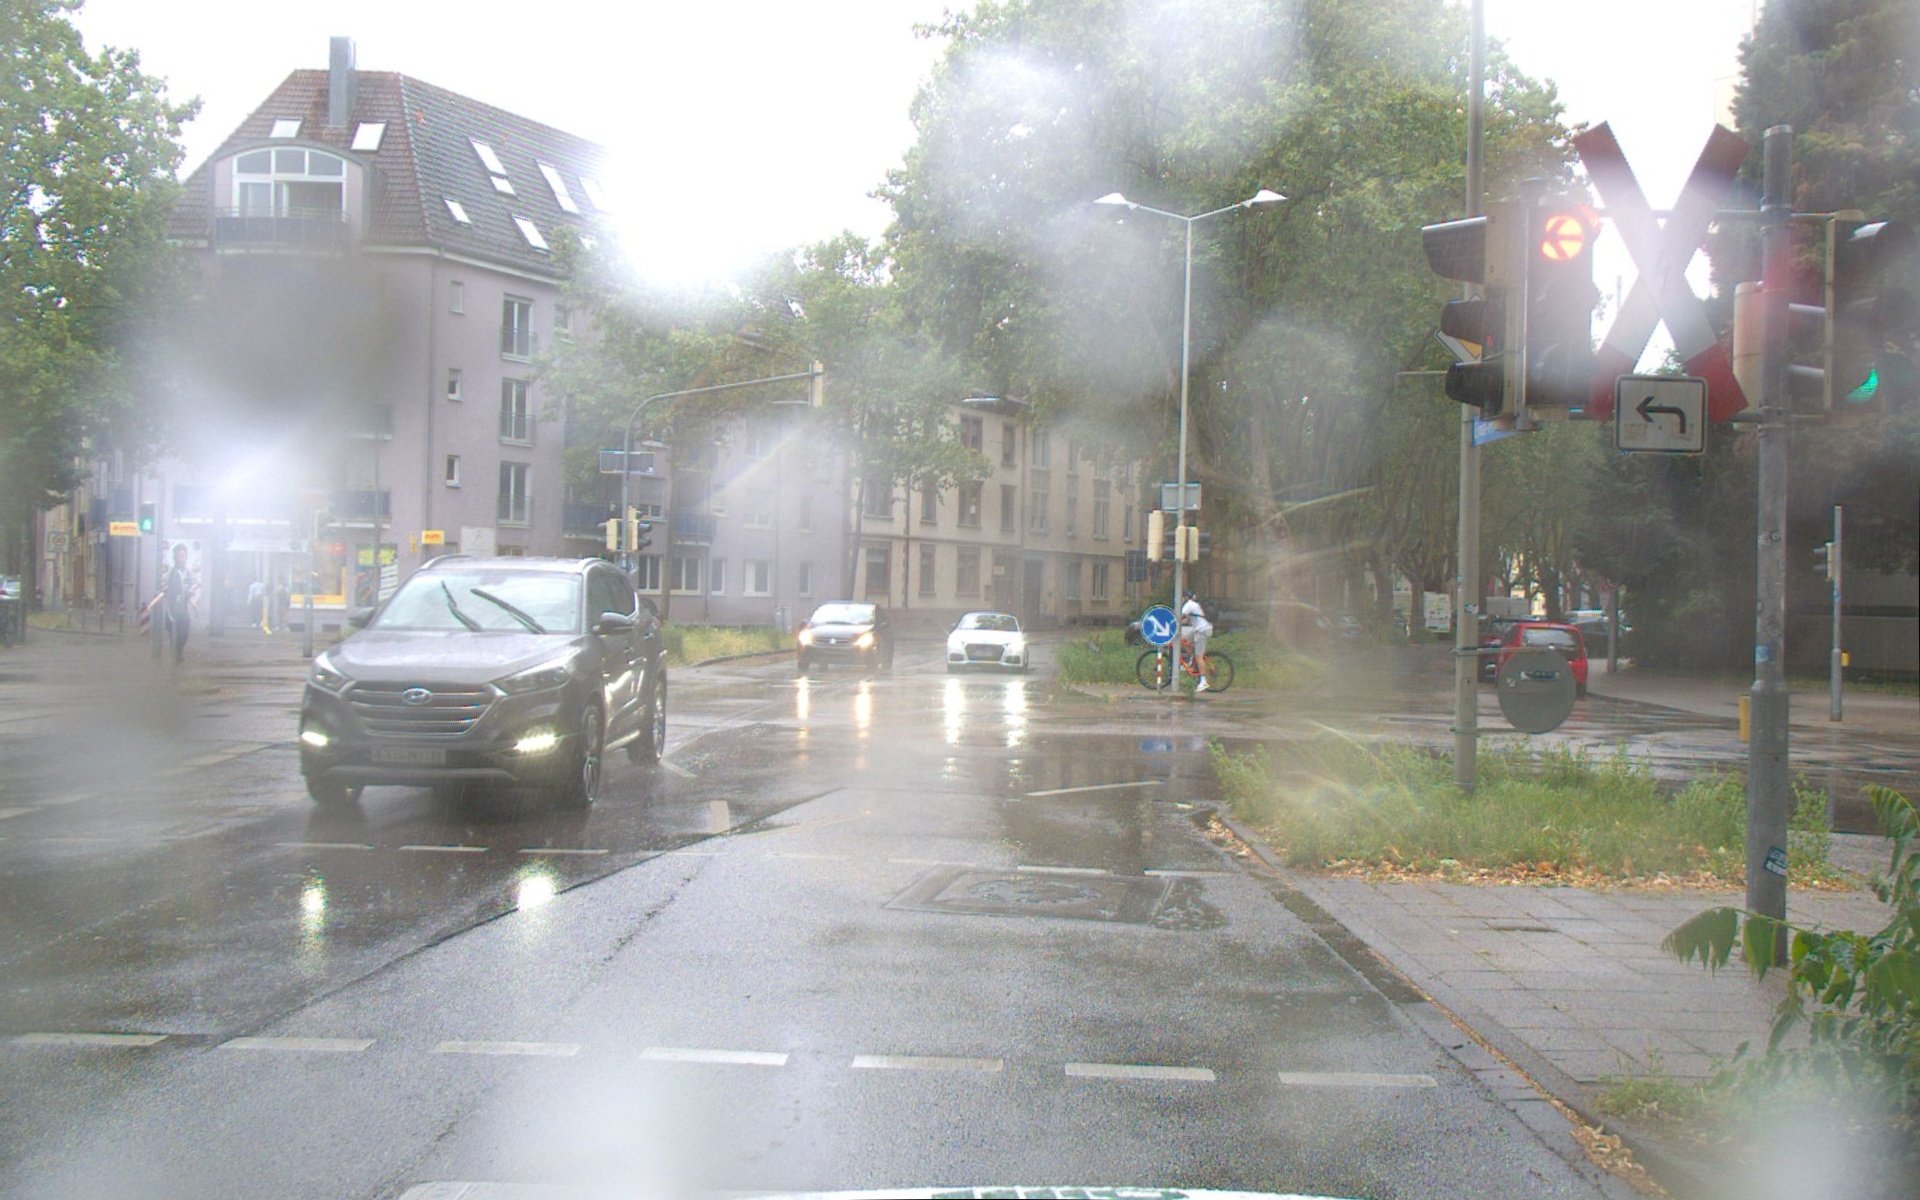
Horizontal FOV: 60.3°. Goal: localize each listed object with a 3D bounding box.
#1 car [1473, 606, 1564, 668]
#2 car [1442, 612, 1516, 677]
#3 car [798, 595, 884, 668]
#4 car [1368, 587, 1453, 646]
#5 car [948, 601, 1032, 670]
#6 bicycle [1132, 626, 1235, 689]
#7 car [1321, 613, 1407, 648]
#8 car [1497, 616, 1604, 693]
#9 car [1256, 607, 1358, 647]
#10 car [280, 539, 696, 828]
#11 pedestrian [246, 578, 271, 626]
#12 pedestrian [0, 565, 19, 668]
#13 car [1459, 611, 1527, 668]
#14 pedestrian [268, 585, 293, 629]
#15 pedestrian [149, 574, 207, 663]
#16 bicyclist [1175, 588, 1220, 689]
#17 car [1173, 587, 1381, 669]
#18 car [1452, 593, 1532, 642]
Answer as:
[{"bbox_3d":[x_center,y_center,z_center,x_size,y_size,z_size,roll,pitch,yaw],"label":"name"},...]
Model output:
[{"bbox_3d":[13.890,0.879,41.301,1.745,1.371,3.932,2,1,13],"label":"car"},{"bbox_3d":[14.982,1.256,47.905,1.745,1.757,4.003,1,0,13],"label":"car"},{"bbox_3d":[-2.566,0.659,36.269,1.679,1.485,3.747,1,0,-1],"label":"car"},{"bbox_3d":[23.946,0.852,88.065,2.005,2.999,4.742,1,0,-21],"label":"car"},{"bbox_3d":[0.721,0.799,39.065,1.845,1.461,4.001,1,0,1],"label":"car"},{"bbox_3d":[4.110,1.051,30.440,1.833,1.100,0.657,1,0,7],"label":"bicycle"},{"bbox_3d":[19.253,1.445,78.922,3.902,1.574,2.002,1,0,12],"label":"car"},{"bbox_3d":[13.045,1.164,36.731,1.754,1.524,4.003,1,0,13],"label":"car"},{"bbox_3d":[13.766,1.051,65.638,3.902,1.512,2.002,1,0,12],"label":"car"},{"bbox_3d":[-3.225,0.493,12.326,1.766,1.712,4.603,1,0,0],"label":"car"},{"bbox_3d":[-22.231,0.064,52.392,0.435,1.483,0.561,1,-1,22],"label":"pedestrian"},{"bbox_3d":[-15.640,0.259,26.386,0.659,1.628,0.968,1,0,-1],"label":"pedestrian"},{"bbox_3d":[18.338,1.334,57.084,1.881,1.837,4.003,1,0,13],"label":"car"},{"bbox_3d":[-21.260,0.221,51.772,0.436,1.353,0.560,1,-1,30],"label":"pedestrian"},{"bbox_3d":[-13.972,0.332,29.574,0.736,1.560,0.789,1,-1,-12],"label":"pedestrian"},{"bbox_3d":[4.356,0.697,30.415,0.778,1.817,0.697,1,-1,7],"label":"bicyclist"},{"bbox_3d":[6.279,0.537,32.788,3.902,1.512,2.002,1,0,12],"label":"car"},{"bbox_3d":[33.661,1.091,104.809,1.974,3.000,4.720,1,0,-31],"label":"car"}]
